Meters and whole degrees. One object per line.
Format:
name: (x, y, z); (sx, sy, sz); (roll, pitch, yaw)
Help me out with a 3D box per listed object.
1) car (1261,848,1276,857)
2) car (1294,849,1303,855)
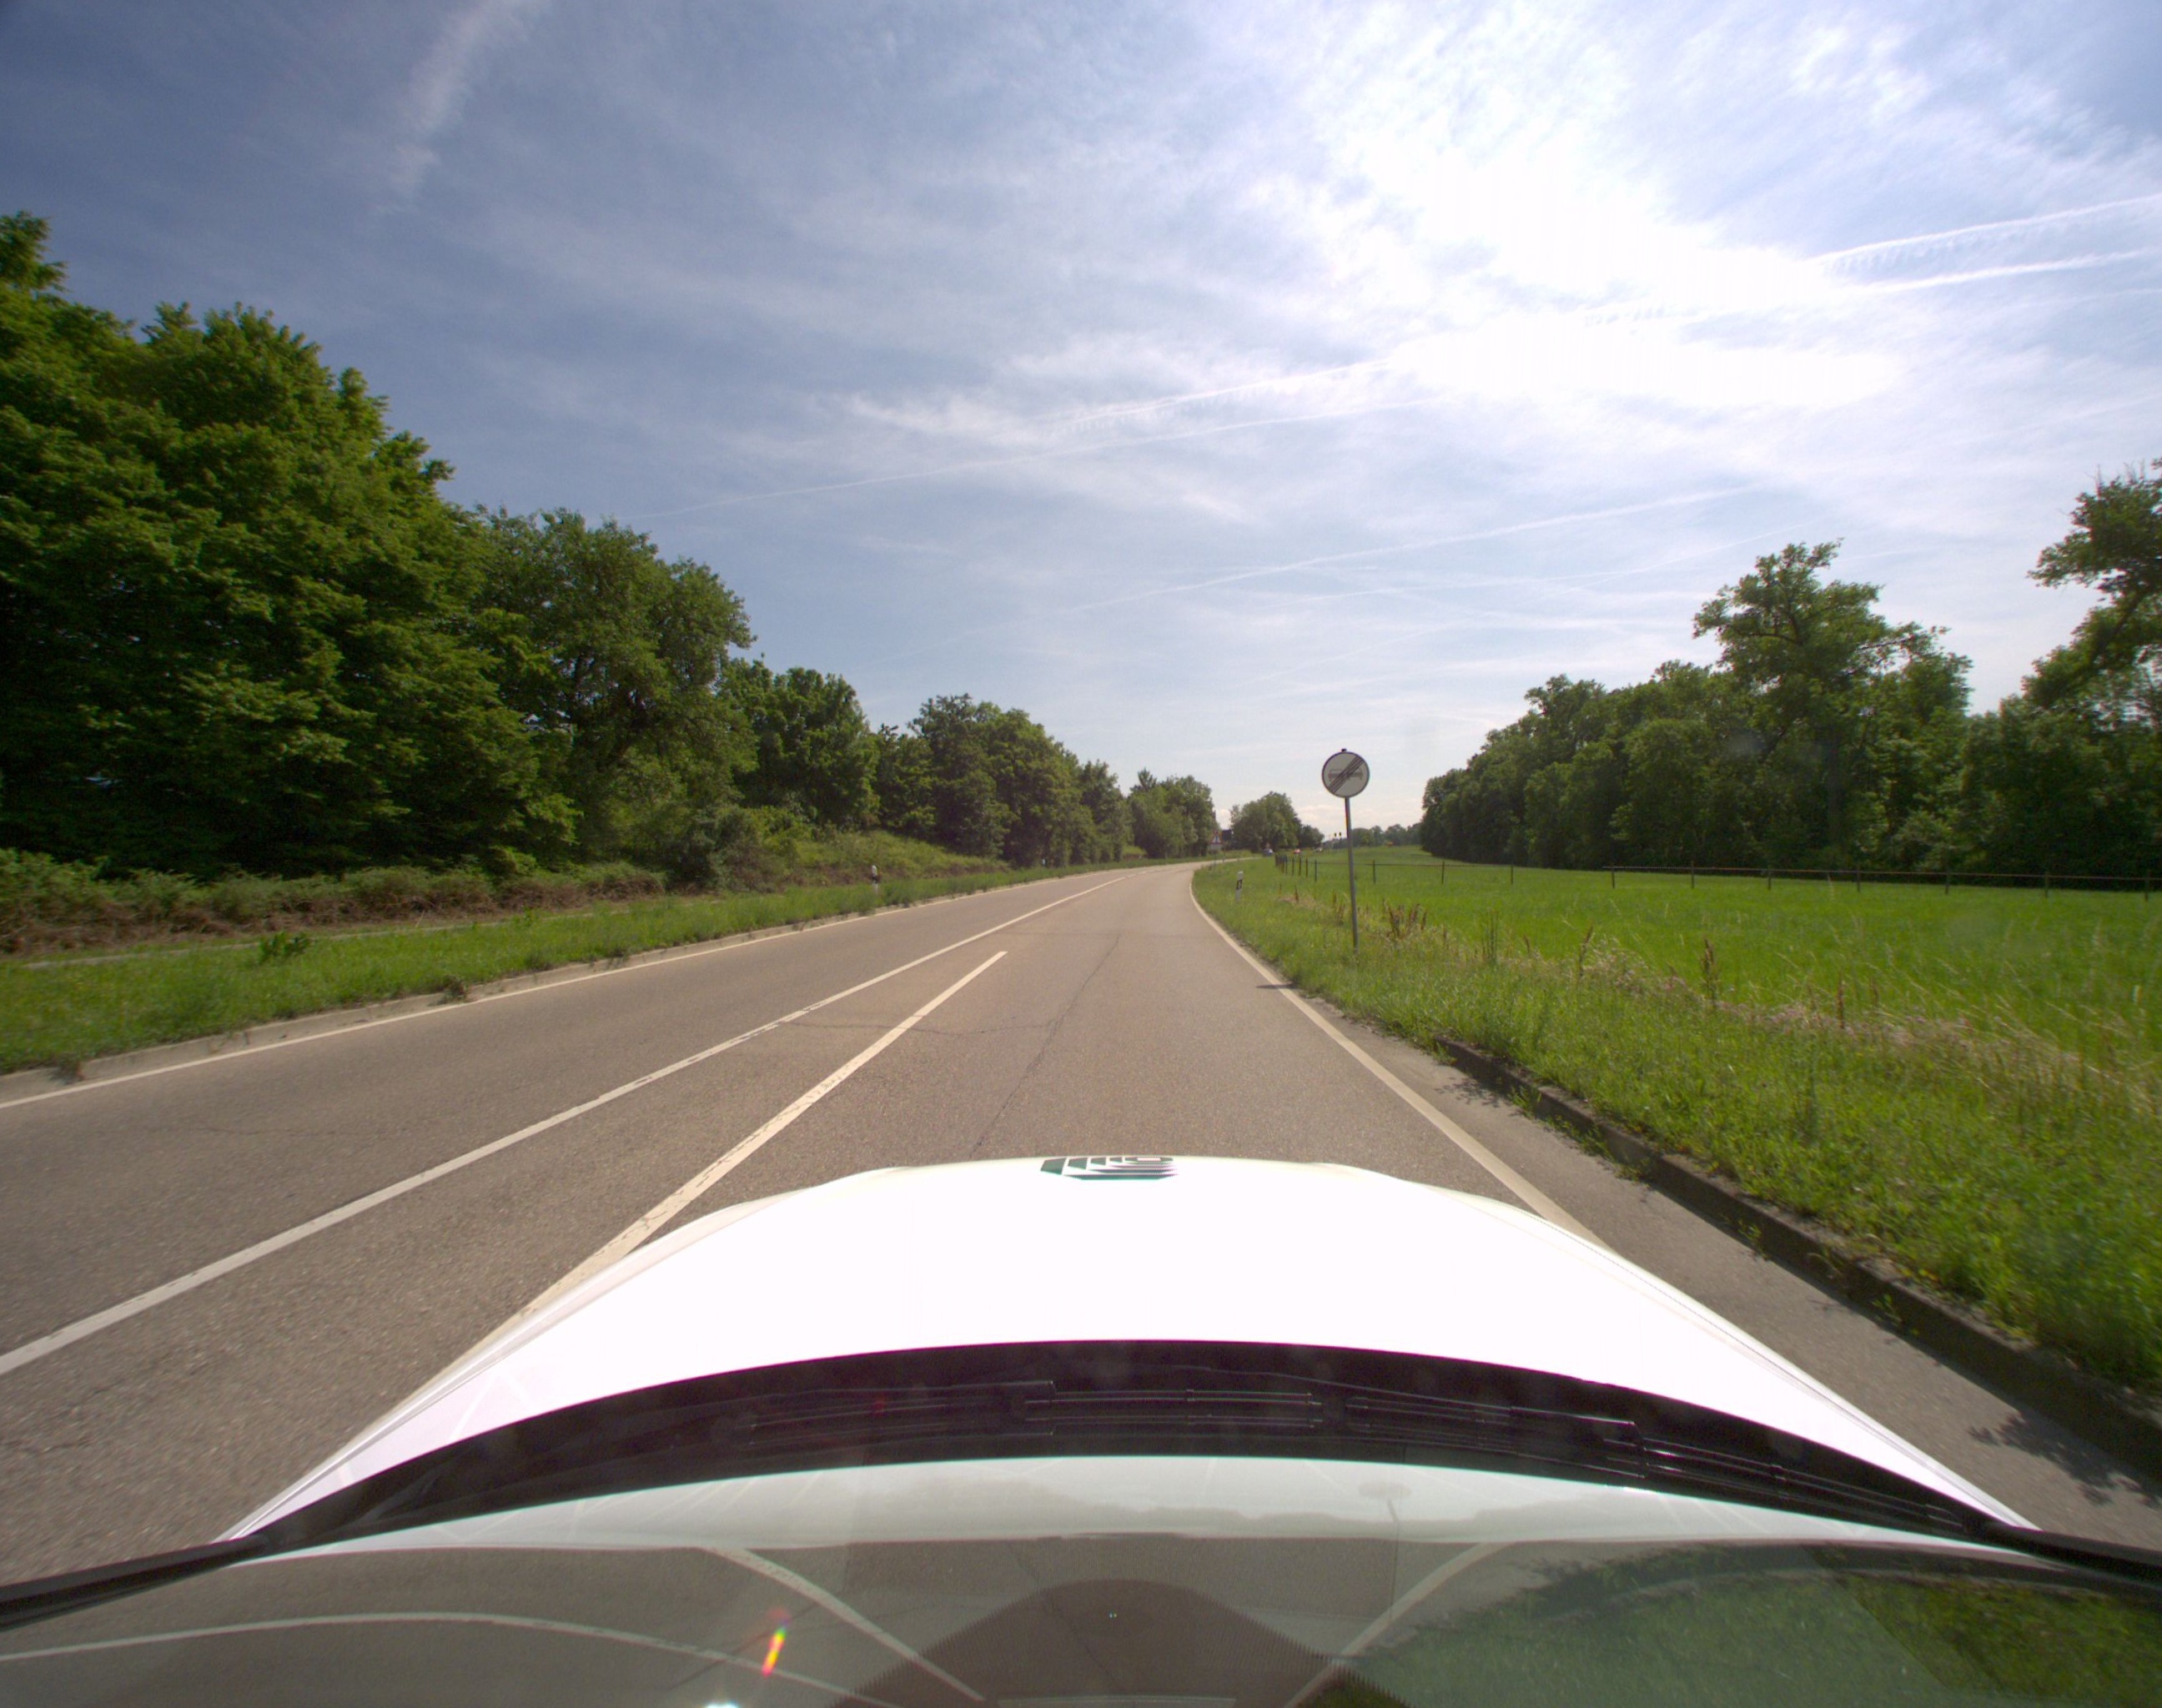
car: (35.307, -0.315, 153.346); (1.975, 1.574, 4.023); (-1, 0, 24)
car: (57.577, -0.552, 215.984); (1.805, 1.469, 4.021); (0, 0, 22)
